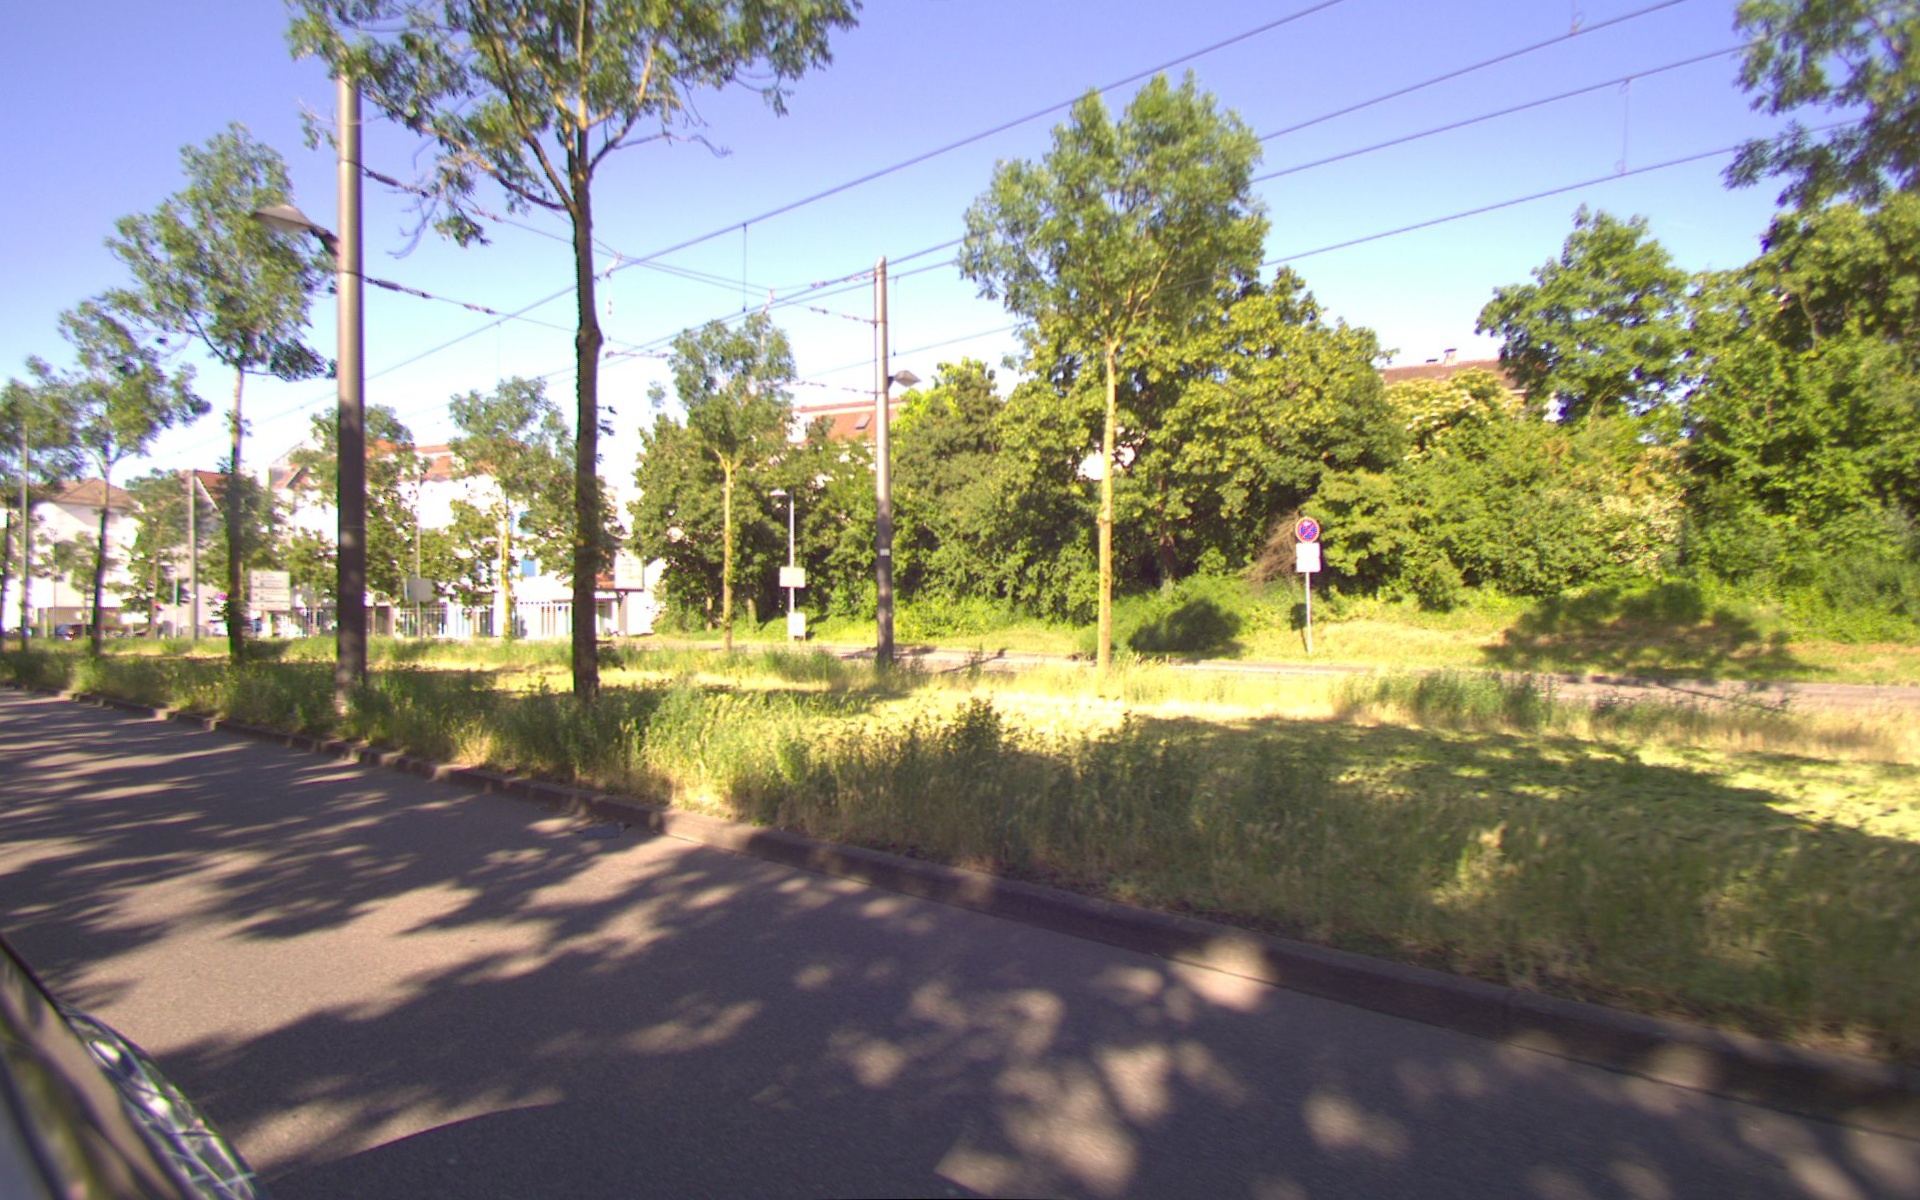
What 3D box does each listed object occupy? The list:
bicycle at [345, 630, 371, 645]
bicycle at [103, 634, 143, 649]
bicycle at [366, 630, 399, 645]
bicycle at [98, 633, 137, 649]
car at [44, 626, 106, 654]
[{"bbox_3d":[-51.498,3.223,86.588,2.540,1.222,0.713,-2,-2,28],"label":"bicycle"},{"bbox_3d":[-72.322,3.586,87.438,0.779,1.168,2.557,-2,-2,26],"label":"bicycle"},{"bbox_3d":[-49.435,3.210,86.666,0.716,1.222,2.528,-2,-2,28],"label":"bicycle"},{"bbox_3d":[-73.282,3.547,88.021,0.659,1.319,2.557,-2,-2,26],"label":"bicycle"},{"bbox_3d":[-60.429,2.730,69.066,4.469,1.653,1.807,-5,-3,29],"label":"car"}]
